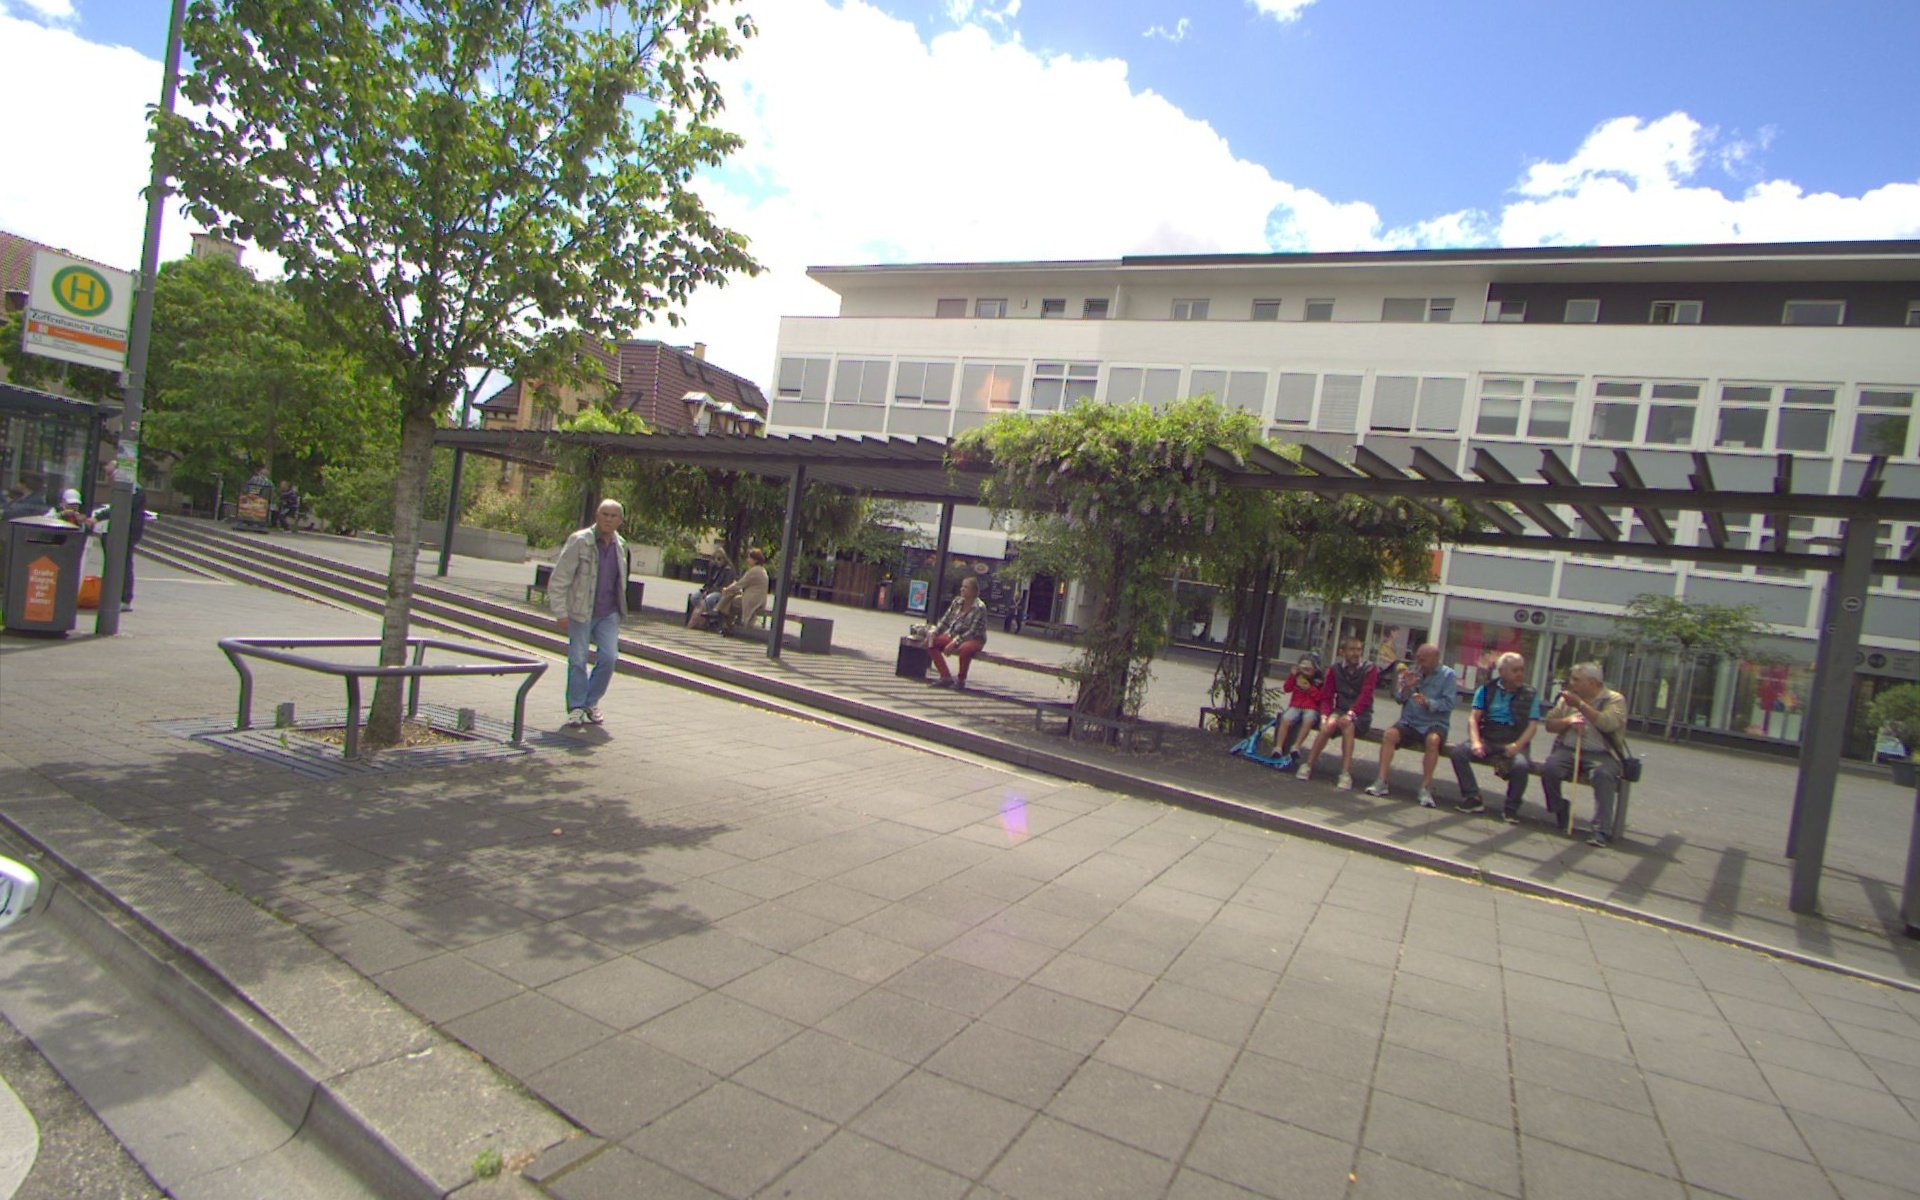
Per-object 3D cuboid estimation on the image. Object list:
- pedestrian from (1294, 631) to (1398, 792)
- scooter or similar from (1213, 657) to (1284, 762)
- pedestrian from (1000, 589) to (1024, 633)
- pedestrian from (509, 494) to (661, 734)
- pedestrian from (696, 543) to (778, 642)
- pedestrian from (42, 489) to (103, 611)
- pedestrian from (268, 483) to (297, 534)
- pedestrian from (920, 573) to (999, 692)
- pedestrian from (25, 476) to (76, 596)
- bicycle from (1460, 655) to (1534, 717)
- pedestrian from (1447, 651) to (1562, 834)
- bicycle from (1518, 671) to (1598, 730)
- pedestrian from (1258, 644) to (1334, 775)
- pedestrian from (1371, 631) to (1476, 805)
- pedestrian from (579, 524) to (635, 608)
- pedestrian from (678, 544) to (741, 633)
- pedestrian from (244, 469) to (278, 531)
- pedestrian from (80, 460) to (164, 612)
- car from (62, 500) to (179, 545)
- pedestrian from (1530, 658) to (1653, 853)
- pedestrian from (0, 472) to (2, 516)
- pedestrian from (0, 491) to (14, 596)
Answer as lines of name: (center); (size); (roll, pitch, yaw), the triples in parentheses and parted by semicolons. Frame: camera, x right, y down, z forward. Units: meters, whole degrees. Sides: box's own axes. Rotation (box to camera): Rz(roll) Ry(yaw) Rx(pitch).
pedestrian: (3.362, 0.955, 8.764); (0.533, 1.278, 0.568); (10, 3, 36)
scooter or similar: (2.737, 1.034, 9.570); (0.246, 0.906, 0.503); (7, 3, -27)
pedestrian: (1.642, 0.351, 31.674); (0.535, 1.340, 0.570); (7, 0, 6)
pedestrian: (-2.848, 0.107, 7.629); (0.704, 1.703, 0.683); (8, 1, 43)
pedestrian: (-3.194, -0.103, 14.424); (0.757, 1.284, 0.675); (8, 0, 28)
pedestrian: (-9.980, -0.558, 11.309); (0.349, 1.324, 0.389); (8, 3, 34)
pedestrian: (-18.318, -2.469, 27.213); (0.631, 1.302, 0.362); (8, 2, 37)
pedestrian: (-0.002, 0.393, 11.963); (0.537, 1.324, 0.623); (8, 2, 36)
pedestrian: (-11.562, -0.812, 12.795); (0.314, 1.477, 0.275); (7, 2, 19)
bicycle: (14.078, 2.240, 26.465); (0.675, 1.325, 2.025); (7, 2, 0)
pedestrian: (4.379, 1.122, 8.094); (0.566, 1.338, 0.495); (10, 3, 36)
bicycle: (15.270, 2.552, 25.741); (0.675, 1.157, 2.024); (7, 3, 0)
pedestrian: (3.053, 0.984, 9.138); (0.362, 1.103, 0.475); (10, 3, 36)
pedestrian: (3.876, 0.970, 8.413); (0.517, 1.338, 0.498); (10, 3, 37)
pedestrian: (-5.991, -0.573, 17.083); (0.538, 1.340, 0.567); (8, 0, 42)
pedestrian: (-3.773, -0.174, 15.174); (0.558, 1.242, 0.567); (8, 0, 42)
pedestrian: (-18.461, -2.634, 26.569); (0.447, 1.527, 0.503); (8, 2, 33)
pedestrian: (-9.874, -0.743, 11.853); (0.567, 1.702, 0.511); (8, 2, 32)
car: (-41.007, -3.777, 49.188); (4.239, 1.596, 1.827); (6, 1, -42)
pedestrian: (4.838, 1.157, 7.697); (0.576, 1.338, 0.616); (10, 3, 35)
pedestrian: (-11.208, -0.746, 11.376); (0.408, 1.462, 0.378); (7, 3, 26)
pedestrian: (-11.610, -0.691, 11.893); (0.622, 1.228, 0.378); (7, 3, 26)
